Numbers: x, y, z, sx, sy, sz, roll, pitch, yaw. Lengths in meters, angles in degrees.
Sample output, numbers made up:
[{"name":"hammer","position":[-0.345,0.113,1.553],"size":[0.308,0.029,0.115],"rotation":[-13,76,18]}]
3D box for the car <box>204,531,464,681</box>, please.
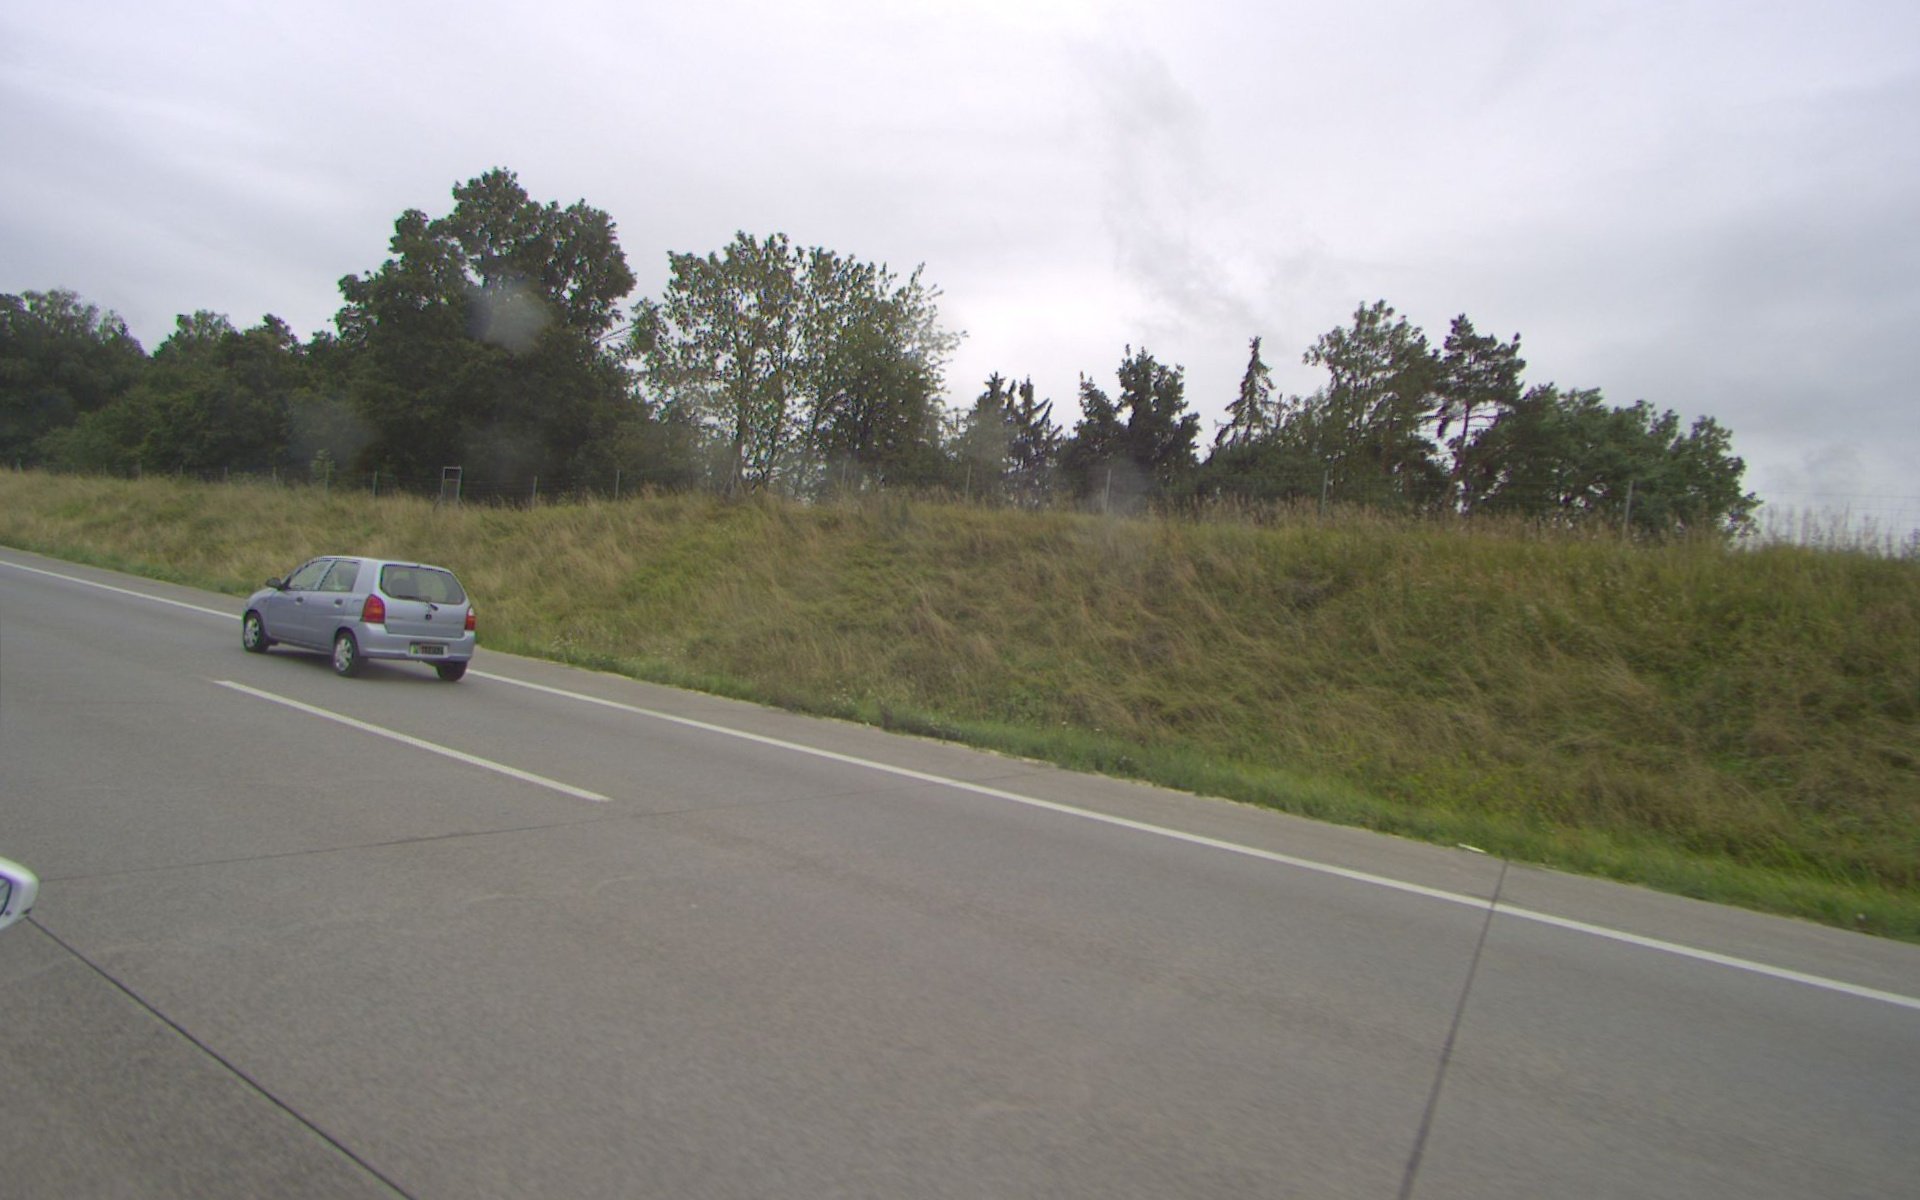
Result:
[{"name":"car","position":[-8.429,0.062,13.481],"size":[3.446,1.488,1.488],"rotation":[8,0,32]}]
